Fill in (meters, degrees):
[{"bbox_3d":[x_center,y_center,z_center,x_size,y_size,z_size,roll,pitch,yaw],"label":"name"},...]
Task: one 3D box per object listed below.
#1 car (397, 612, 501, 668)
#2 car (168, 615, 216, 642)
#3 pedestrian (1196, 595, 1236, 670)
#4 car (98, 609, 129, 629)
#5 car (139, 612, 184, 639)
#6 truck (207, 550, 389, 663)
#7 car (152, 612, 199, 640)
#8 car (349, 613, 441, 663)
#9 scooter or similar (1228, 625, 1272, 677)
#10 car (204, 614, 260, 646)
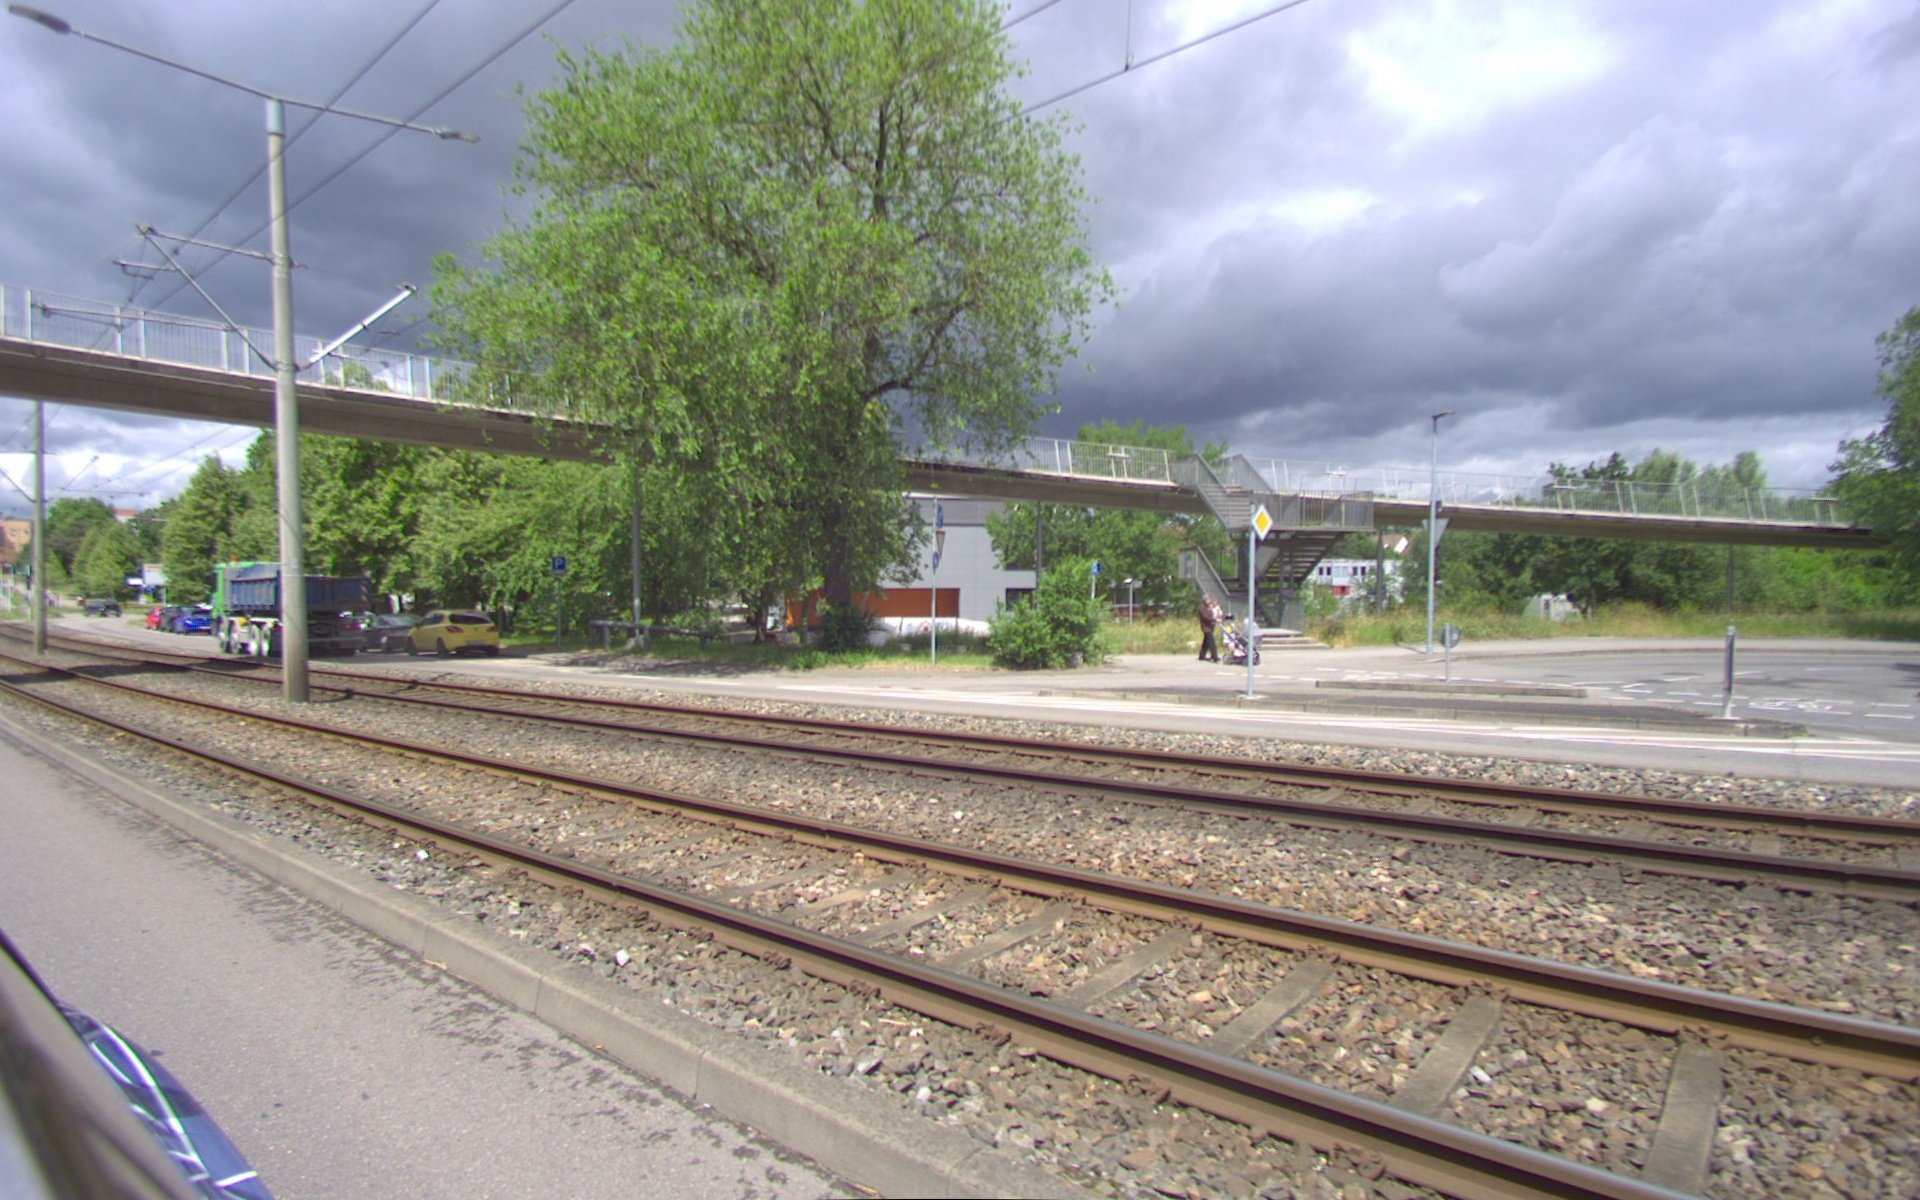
[{"bbox_3d":[-16.066,1.199,31.752,3.899,1.461,1.671,2,3,43],"label":"car"},{"bbox_3d":[-42.978,1.578,56.616,4.009,1.472,1.594,0,-2,45],"label":"car"},{"bbox_3d":[6.287,0.777,24.842,0.718,1.769,0.654,1,3,44],"label":"pedestrian"},{"bbox_3d":[-76.002,1.653,90.831,4.000,1.585,1.596,1,3,43],"label":"car"},{"bbox_3d":[-50.796,1.605,64.386,3.661,1.462,1.596,1,3,42],"label":"car"},{"bbox_3d":[-22.354,0.104,33.903,9.029,3.344,2.841,1,3,42],"label":"truck"},{"bbox_3d":[-46.817,1.540,60.355,4.375,1.617,1.562,-1,-1,44],"label":"car"},{"bbox_3d":[-19.593,1.267,35.033,3.899,1.461,1.671,2,3,43],"label":"car"},{"bbox_3d":[6.946,1.197,24.222,0.788,1.156,0.702,1,3,44],"label":"scooter or similar"},{"bbox_3d":[-36.073,1.467,50.099,4.049,1.505,1.595,-1,0,44],"label":"car"}]
